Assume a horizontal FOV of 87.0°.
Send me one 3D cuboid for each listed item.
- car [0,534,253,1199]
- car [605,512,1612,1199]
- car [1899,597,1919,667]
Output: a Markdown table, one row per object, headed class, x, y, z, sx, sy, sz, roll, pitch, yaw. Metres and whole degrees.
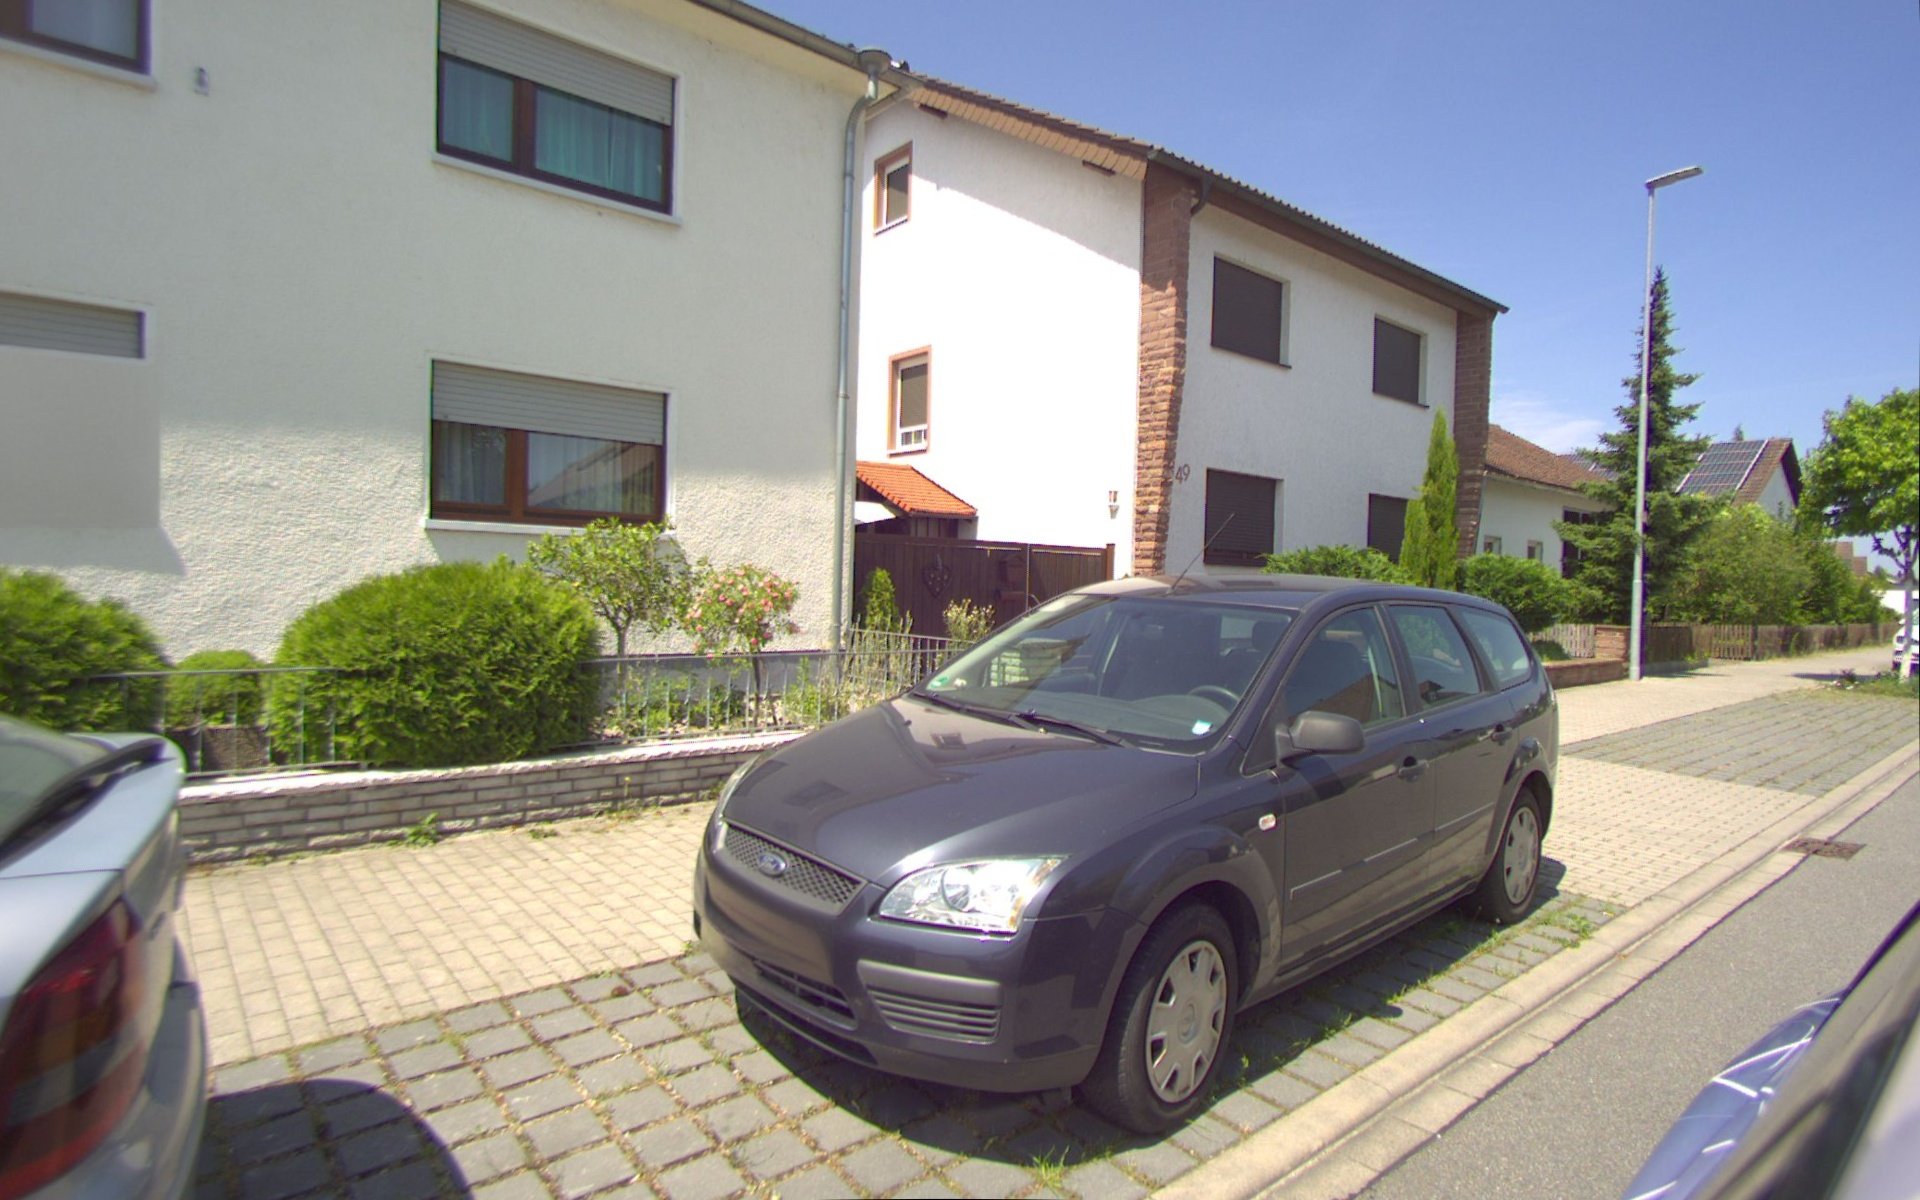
| class | x | y | z | sx | sy | sz | roll | pitch | yaw |
| --- | --- | --- | --- | --- | --- | --- | --- | --- | --- |
| car | -3.044 | 0.601 | 0.733 | 4.019 | 1.438 | 1.818 | 0 | 2 | -40 |
| car | 1.023 | 0.570 | 4.186 | 4.373 | 1.552 | 1.744 | 0 | 2 | -42 |
| car | 21.642 | 0.695 | 21.660 | 3.800 | 1.438 | 1.818 | 0 | 2 | -41 |
